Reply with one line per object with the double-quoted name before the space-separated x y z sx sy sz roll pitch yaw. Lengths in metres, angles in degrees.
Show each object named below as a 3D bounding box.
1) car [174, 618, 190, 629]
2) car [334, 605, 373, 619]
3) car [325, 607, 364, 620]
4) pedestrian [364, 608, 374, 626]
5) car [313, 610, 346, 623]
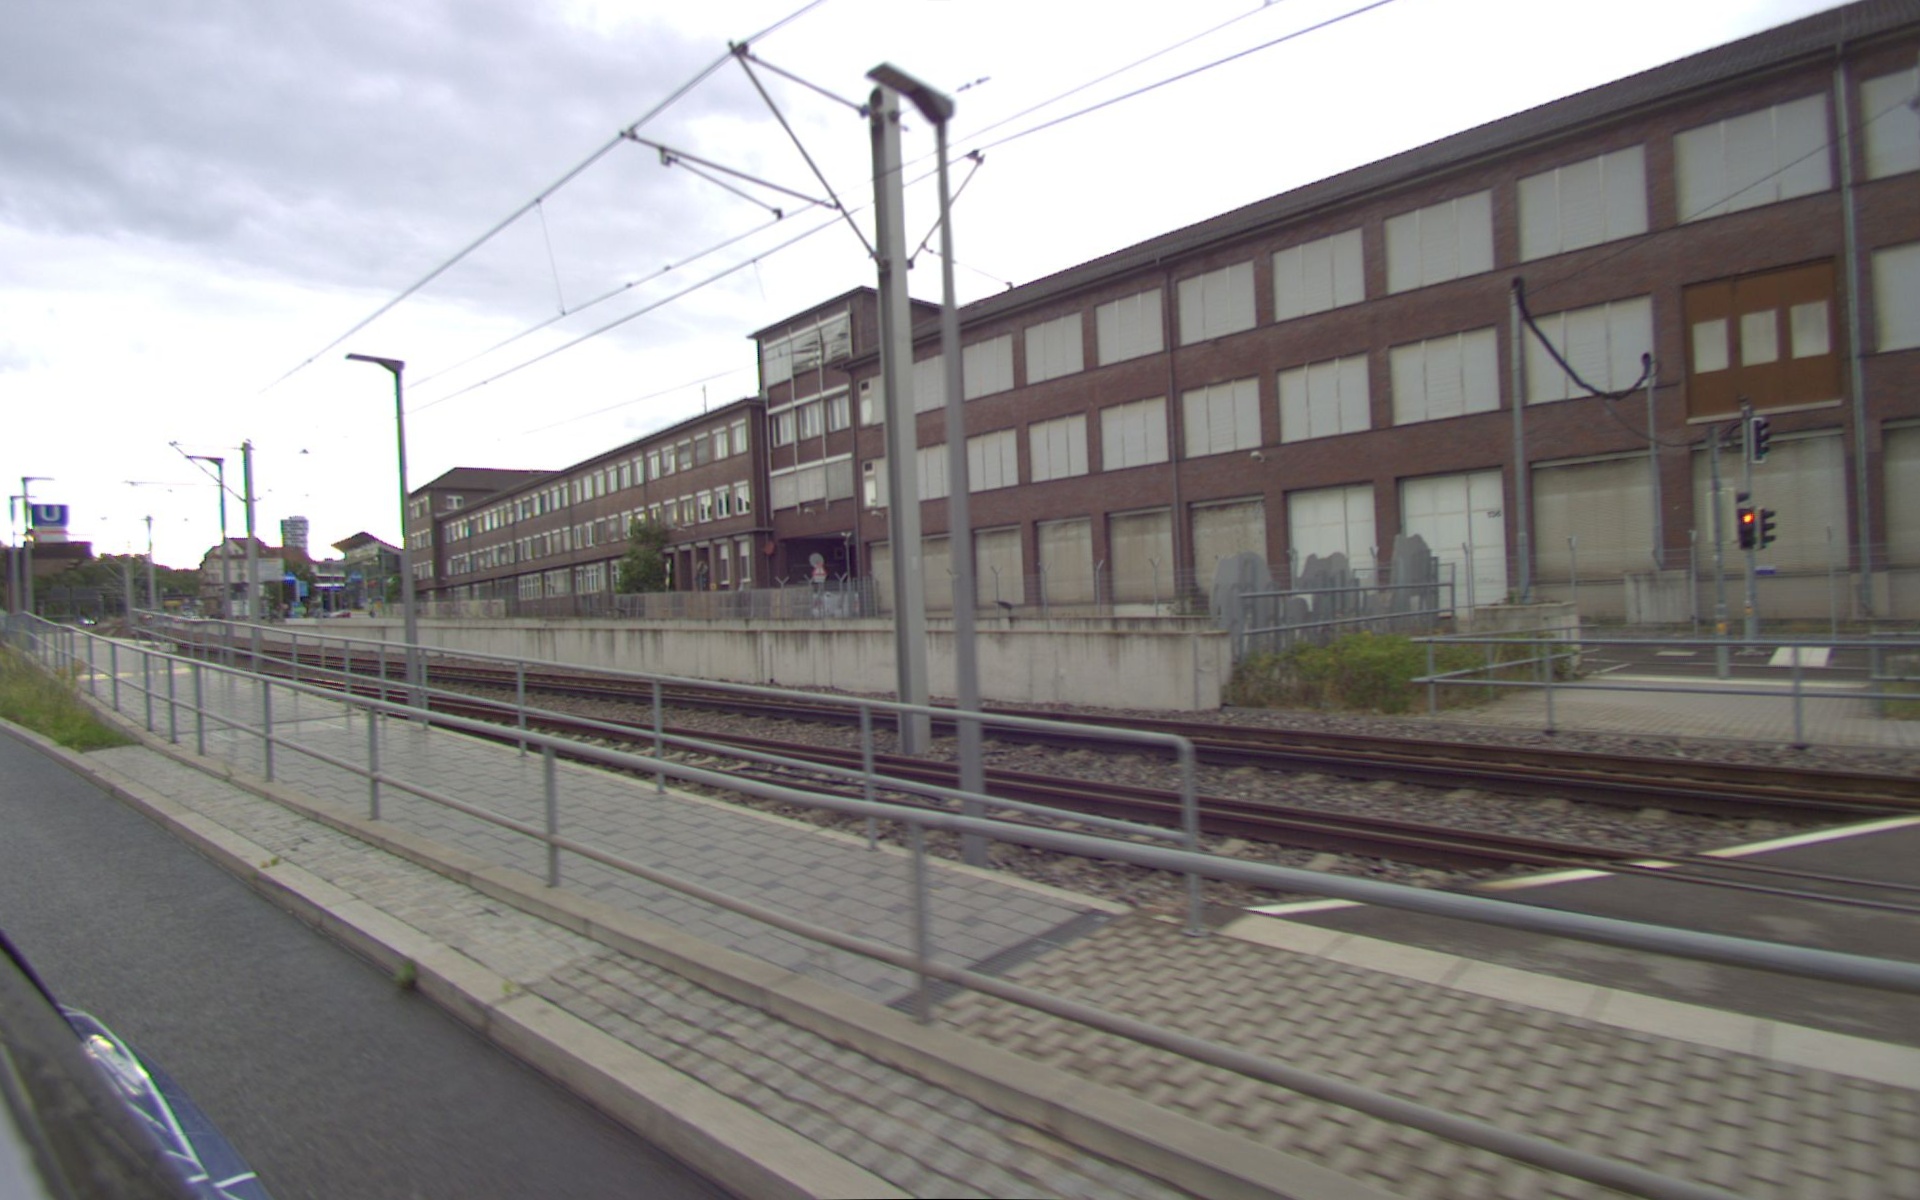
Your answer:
"car" -149.053 4.489 193.831 1.970 2.029 4.004 0 -1 -43
"car" -85.199 1.636 142.197 4.509 1.773 2.003 -2 0 -41
"car" -88.046 1.908 144.873 4.509 1.773 2.003 -2 0 -41
"pedestrian" -66.814 1.906 114.383 0.722 2.029 0.578 -1 0 13
"car" -94.678 2.417 151.992 3.937 1.785 2.003 -2 0 -40
